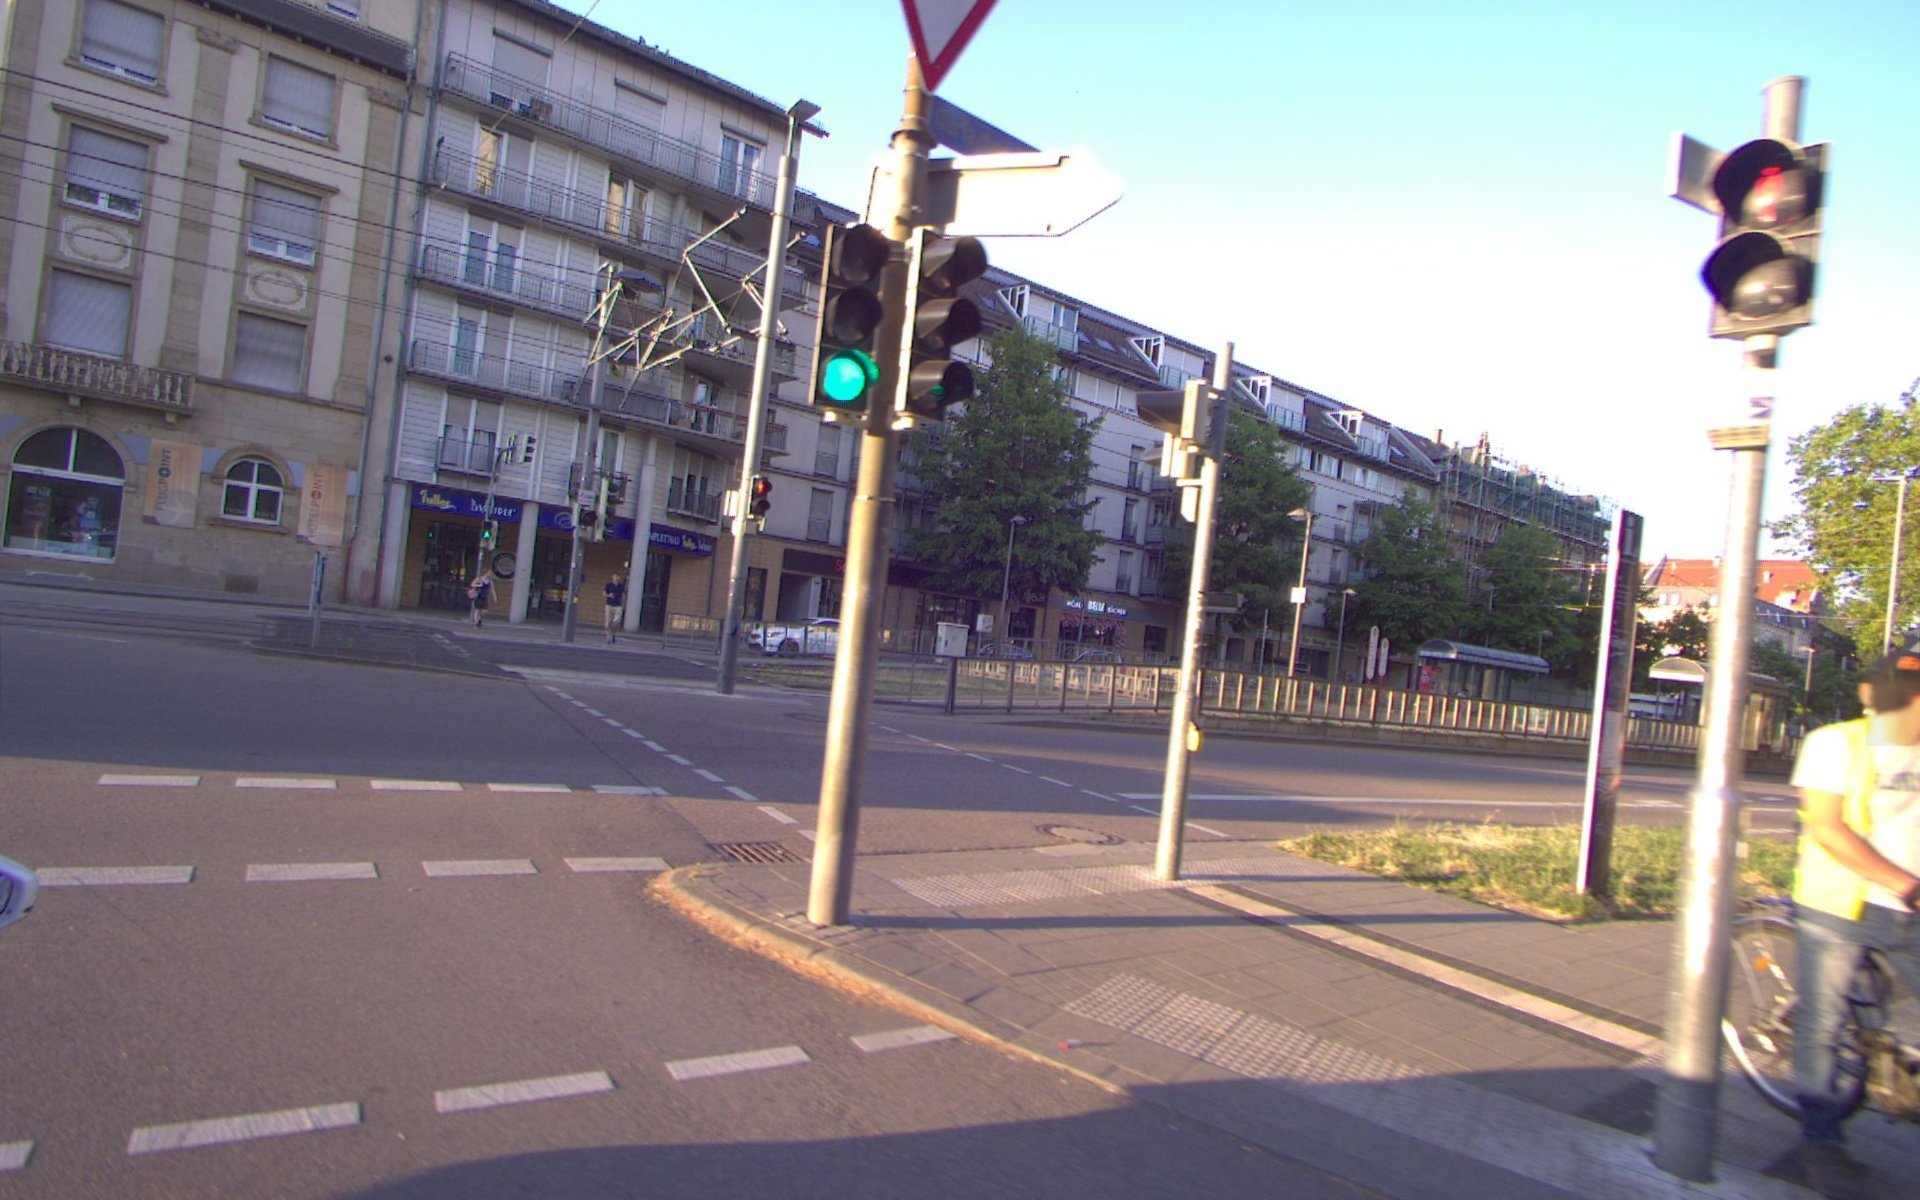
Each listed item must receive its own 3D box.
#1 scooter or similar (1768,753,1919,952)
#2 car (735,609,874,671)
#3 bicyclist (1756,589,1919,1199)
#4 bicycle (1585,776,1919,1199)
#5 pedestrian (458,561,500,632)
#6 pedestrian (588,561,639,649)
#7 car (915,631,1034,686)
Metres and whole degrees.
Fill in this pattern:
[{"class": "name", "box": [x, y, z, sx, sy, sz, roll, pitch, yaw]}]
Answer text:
[{"class": "scooter or similar", "box": [6.575, 1.817, 7.253, 1.216, 1.263, 0.514, 7, -2, -18]}, {"class": "car", "box": [-5.021, 1.323, 32.716, 3.963, 1.503, 1.834, 9, -3, -34]}, {"class": "bicyclist", "box": [3.049, 0.924, 3.010, 0.616, 1.845, 0.699, 6, -2, 0]}, {"class": "bicycle", "box": [3.000, 1.289, 3.215, 0.616, 1.122, 2.074, 7, -3, 0]}, {"class": "pedestrian", "box": [-12.872, -0.093, 26.908, 0.781, 1.799, 0.539, 8, -2, -32]}, {"class": "pedestrian", "box": [-9.260, 0.122, 26.862, 0.814, 2.234, 0.862, 8, -2, -37]}, {"class": "car", "box": [0.543, 2.144, 36.659, 3.969, 1.503, 1.831, 9, -3, -38]}]
